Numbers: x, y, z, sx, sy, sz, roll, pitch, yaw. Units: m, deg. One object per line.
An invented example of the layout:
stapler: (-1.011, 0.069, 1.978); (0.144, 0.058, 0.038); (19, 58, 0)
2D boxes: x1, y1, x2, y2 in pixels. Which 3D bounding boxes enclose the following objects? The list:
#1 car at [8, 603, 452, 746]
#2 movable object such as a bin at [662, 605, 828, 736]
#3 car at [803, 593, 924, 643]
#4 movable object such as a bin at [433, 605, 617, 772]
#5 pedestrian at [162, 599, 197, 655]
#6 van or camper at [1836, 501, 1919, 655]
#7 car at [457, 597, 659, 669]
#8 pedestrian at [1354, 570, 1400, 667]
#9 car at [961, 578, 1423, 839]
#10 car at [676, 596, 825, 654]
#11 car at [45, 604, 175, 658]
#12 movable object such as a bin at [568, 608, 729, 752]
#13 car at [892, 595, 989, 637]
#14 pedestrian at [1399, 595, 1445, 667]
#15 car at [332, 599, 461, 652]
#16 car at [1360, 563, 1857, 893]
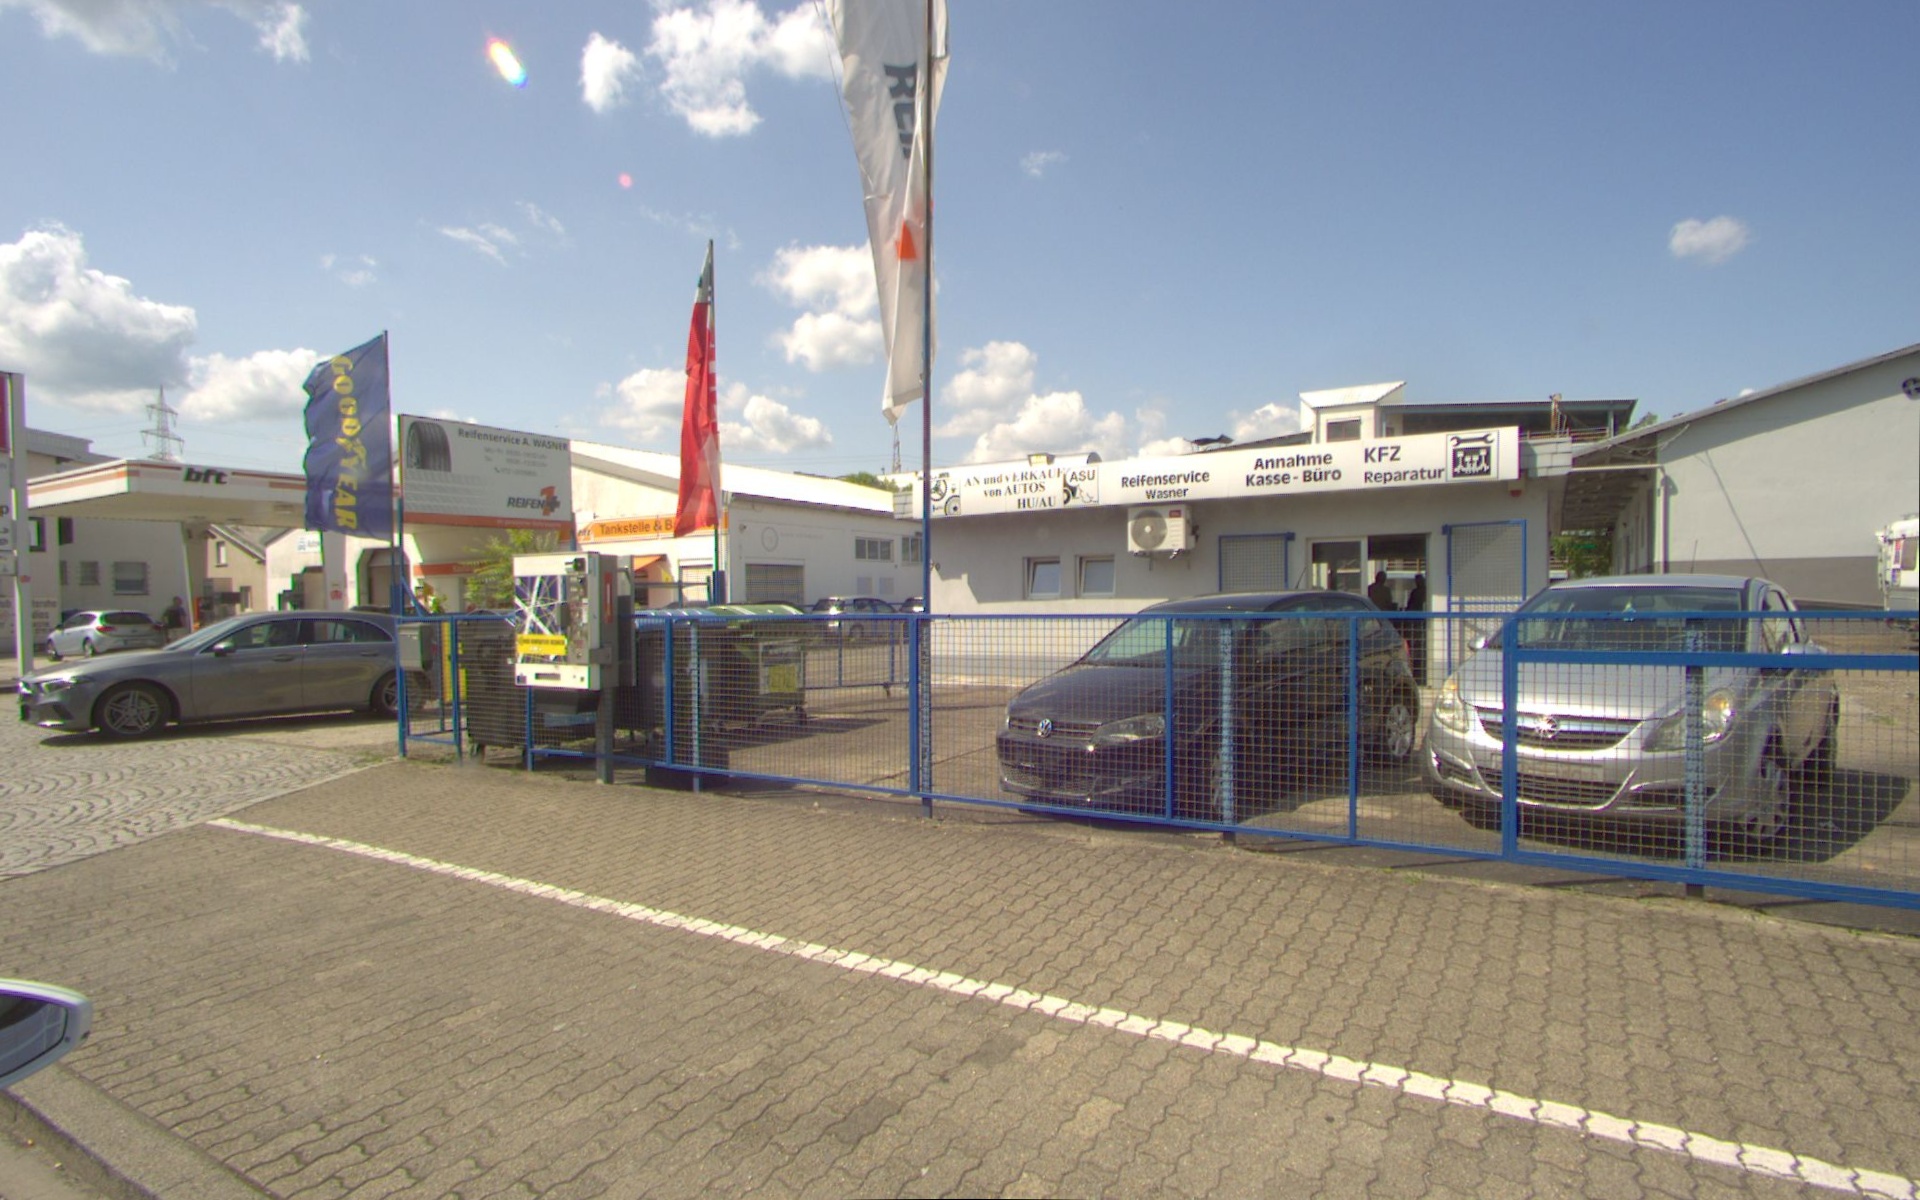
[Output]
car: (-8.881, 0.779, 12.482); (1.656, 1.434, 4.247); (0, 0, 43)
movable object such as a bin: (-2.532, 0.782, 11.896); (1.318, 1.415, 1.400); (0, 1, 31)
car: (-3.013, 0.524, 32.044); (1.564, 1.482, 4.187); (0, 0, 33)
movable object such as a bin: (-4.158, 0.785, 9.601); (1.225, 1.455, 1.106); (0, 1, 31)
pedestrian: (-23.774, 0.799, 30.511); (0.698, 1.679, 0.546); (-1, 1, -22)
van or camper: (21.017, -0.455, 19.522); (5.571, 3.005, 2.264); (0, 1, 31)
car: (-9.163, 0.687, 23.157); (1.564, 1.482, 4.187); (0, 0, 33)
pedestrian: (7.354, 0.318, 17.639); (0.654, 1.671, 0.563); (0, 1, 34)
car: (1.888, 0.601, 7.490); (3.655, 1.472, 1.625); (-1, 0, -43)
car: (-5.716, 0.639, 27.813); (1.564, 1.482, 4.187); (0, 0, 33)
car: (-25.734, 0.899, 30.301); (3.776, 1.523, 1.803); (0, 0, 30)
movable object such as a bin: (-3.325, 0.802, 10.732); (1.225, 1.415, 1.106); (0, 1, 31)
car: (-0.637, 0.531, 35.730); (1.564, 1.385, 3.860); (0, 0, 33)
pedestrian: (8.048, 0.531, 17.432); (0.654, 1.225, 0.563); (0, 1, 34)
car: (-17.307, 0.745, 30.718); (3.777, 1.523, 1.803); (0, 0, 31)
car: (4.274, 0.561, 6.374); (3.729, 1.472, 1.757); (-1, 0, -42)
